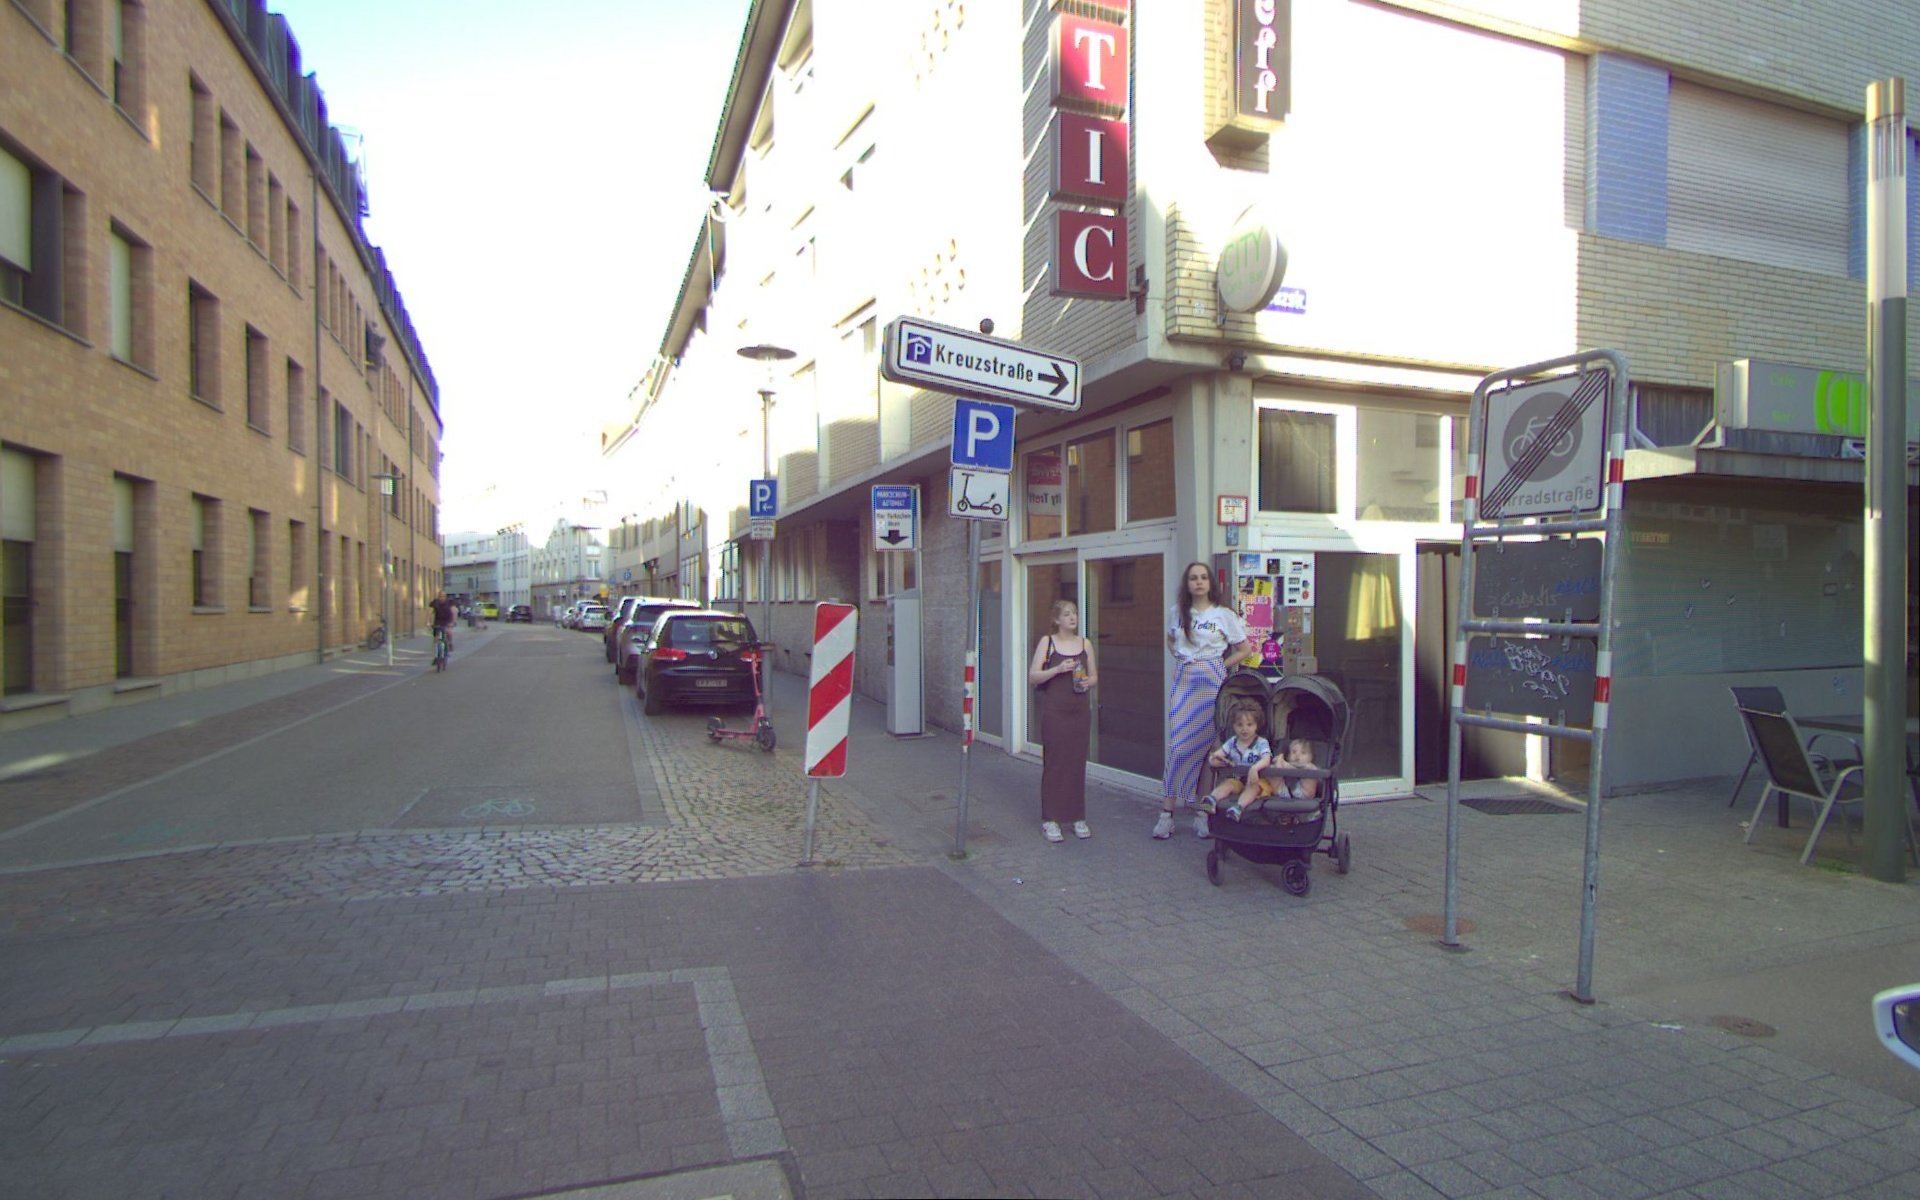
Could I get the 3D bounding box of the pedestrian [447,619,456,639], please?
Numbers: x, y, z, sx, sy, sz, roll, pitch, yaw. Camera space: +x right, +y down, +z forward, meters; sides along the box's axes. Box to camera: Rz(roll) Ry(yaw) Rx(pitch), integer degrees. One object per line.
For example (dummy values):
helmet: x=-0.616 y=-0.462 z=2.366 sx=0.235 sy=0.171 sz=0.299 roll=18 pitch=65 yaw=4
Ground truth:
pedestrian: x=-39.371 y=2.259 z=77.801 sx=0.535 sy=1.565 sz=0.403 roll=1 pitch=0 yaw=-22

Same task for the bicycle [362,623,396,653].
bicycle: x=-19.183 y=1.242 z=33.199 sx=0.634 sy=0.893 sz=2.542 roll=1 pitch=-1 yaw=-23

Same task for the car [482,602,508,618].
car: x=-50.344 y=1.115 z=108.730 sx=1.916 sy=1.673 sz=3.800 roll=1 pitch=-1 yaw=-34

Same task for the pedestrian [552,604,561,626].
pedestrian: x=-27.633 y=1.056 z=68.823 sx=0.564 sy=1.499 sz=0.470 roll=0 pitch=0 yaw=-28

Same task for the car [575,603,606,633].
car: x=-23.339 y=1.136 z=63.418 sx=1.669 sy=1.799 sz=3.636 roll=2 pitch=-1 yaw=-22

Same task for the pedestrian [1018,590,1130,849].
pedestrian: x=0.741 y=0.753 z=6.614 sx=0.525 sy=1.601 sz=0.509 roll=-3 pitch=1 yaw=-14

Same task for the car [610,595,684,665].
car: x=-8.485 y=0.783 z=27.062 sx=1.649 sy=1.727 sz=3.994 roll=2 pitch=-1 yaw=-20

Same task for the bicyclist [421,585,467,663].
bicyclist: x=-11.529 y=0.529 z=22.481 sx=0.762 sy=1.678 sz=0.952 roll=-3 pitch=1 yaw=-23

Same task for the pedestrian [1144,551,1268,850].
pedestrian: x=1.615 y=0.626 z=6.564 sx=0.647 sy=1.844 sz=0.570 roll=-2 pitch=1 yaw=21

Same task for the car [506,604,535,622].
car: x=-41.561 y=1.236 z=94.953 sx=1.916 sy=1.673 sz=3.800 roll=0 pitch=0 yaw=-34

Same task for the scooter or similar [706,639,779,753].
scooter or similar: x=-2.395 y=1.037 z=11.059 sx=0.866 sy=1.199 sz=0.208 roll=0 pitch=0 yaw=30

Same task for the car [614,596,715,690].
car: x=-6.048 y=0.815 z=20.286 sx=1.649 sy=1.683 sz=4.062 roll=2 pitch=-1 yaw=-20

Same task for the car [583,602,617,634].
car: x=-20.791 y=1.024 z=57.931 sx=1.669 sy=1.701 sz=3.489 roll=2 pitch=-1 yaw=-22

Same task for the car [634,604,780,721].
car: x=-3.973 y=0.867 z=15.342 sx=1.715 sy=1.506 sz=3.793 roll=2 pitch=0 yaw=-20

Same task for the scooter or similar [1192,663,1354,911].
scooter or similar: x=1.769 y=0.970 z=5.595 sx=0.783 sy=1.159 sz=0.953 roll=0 pitch=1 yaw=22

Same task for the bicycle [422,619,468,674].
bicycle: x=-11.527 y=1.024 z=22.522 sx=0.695 sy=1.118 sz=1.818 roll=-4 pitch=1 yaw=-22
